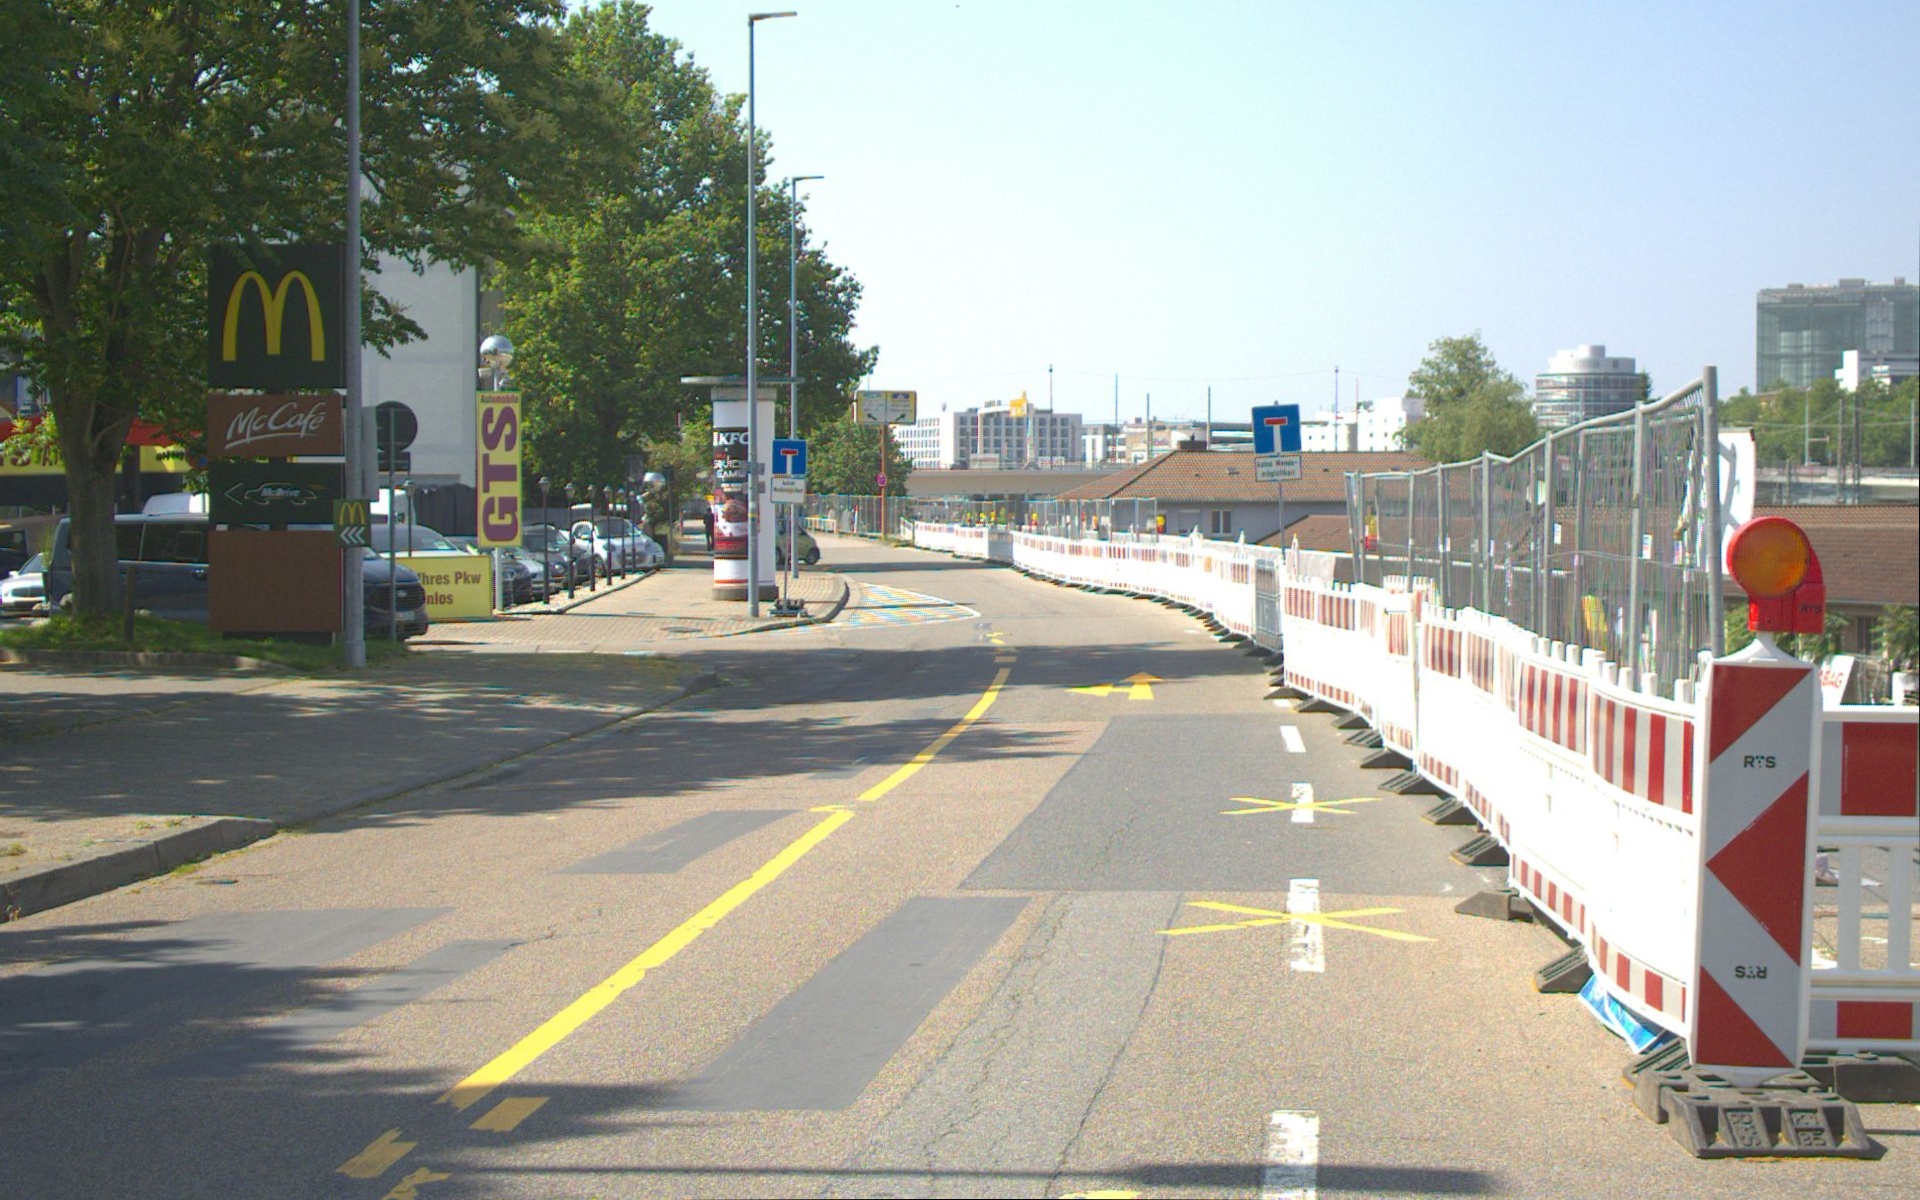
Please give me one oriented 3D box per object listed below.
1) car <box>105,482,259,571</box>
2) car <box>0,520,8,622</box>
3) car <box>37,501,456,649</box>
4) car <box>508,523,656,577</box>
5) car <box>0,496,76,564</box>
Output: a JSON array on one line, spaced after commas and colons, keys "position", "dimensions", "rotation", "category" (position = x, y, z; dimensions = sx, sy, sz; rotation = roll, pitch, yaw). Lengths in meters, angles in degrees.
[{"position": [-16.981, -1.602, 74.919], "dimensions": [1.994, 1.897, 4.000], "rotation": [0, 1, -33], "category": "car"}, {"position": [-17.919, -0.528, 60.009], "dimensions": [1.993, 1.722, 4.001], "rotation": [-1, 2, -23], "category": "car"}, {"position": [-9.698, -0.377, 46.727], "dimensions": [5.370, 1.928, 1.998], "rotation": [0, 2, 22], "category": "car"}, {"position": [-10.226, -1.358, 92.994], "dimensions": [3.680, 1.416, 1.570], "rotation": [1, 1, 23], "category": "car"}, {"position": [-20.381, -1.517, 74.174], "dimensions": [1.567, 1.416, 3.688], "rotation": [0, 1, -30], "category": "car"}]
